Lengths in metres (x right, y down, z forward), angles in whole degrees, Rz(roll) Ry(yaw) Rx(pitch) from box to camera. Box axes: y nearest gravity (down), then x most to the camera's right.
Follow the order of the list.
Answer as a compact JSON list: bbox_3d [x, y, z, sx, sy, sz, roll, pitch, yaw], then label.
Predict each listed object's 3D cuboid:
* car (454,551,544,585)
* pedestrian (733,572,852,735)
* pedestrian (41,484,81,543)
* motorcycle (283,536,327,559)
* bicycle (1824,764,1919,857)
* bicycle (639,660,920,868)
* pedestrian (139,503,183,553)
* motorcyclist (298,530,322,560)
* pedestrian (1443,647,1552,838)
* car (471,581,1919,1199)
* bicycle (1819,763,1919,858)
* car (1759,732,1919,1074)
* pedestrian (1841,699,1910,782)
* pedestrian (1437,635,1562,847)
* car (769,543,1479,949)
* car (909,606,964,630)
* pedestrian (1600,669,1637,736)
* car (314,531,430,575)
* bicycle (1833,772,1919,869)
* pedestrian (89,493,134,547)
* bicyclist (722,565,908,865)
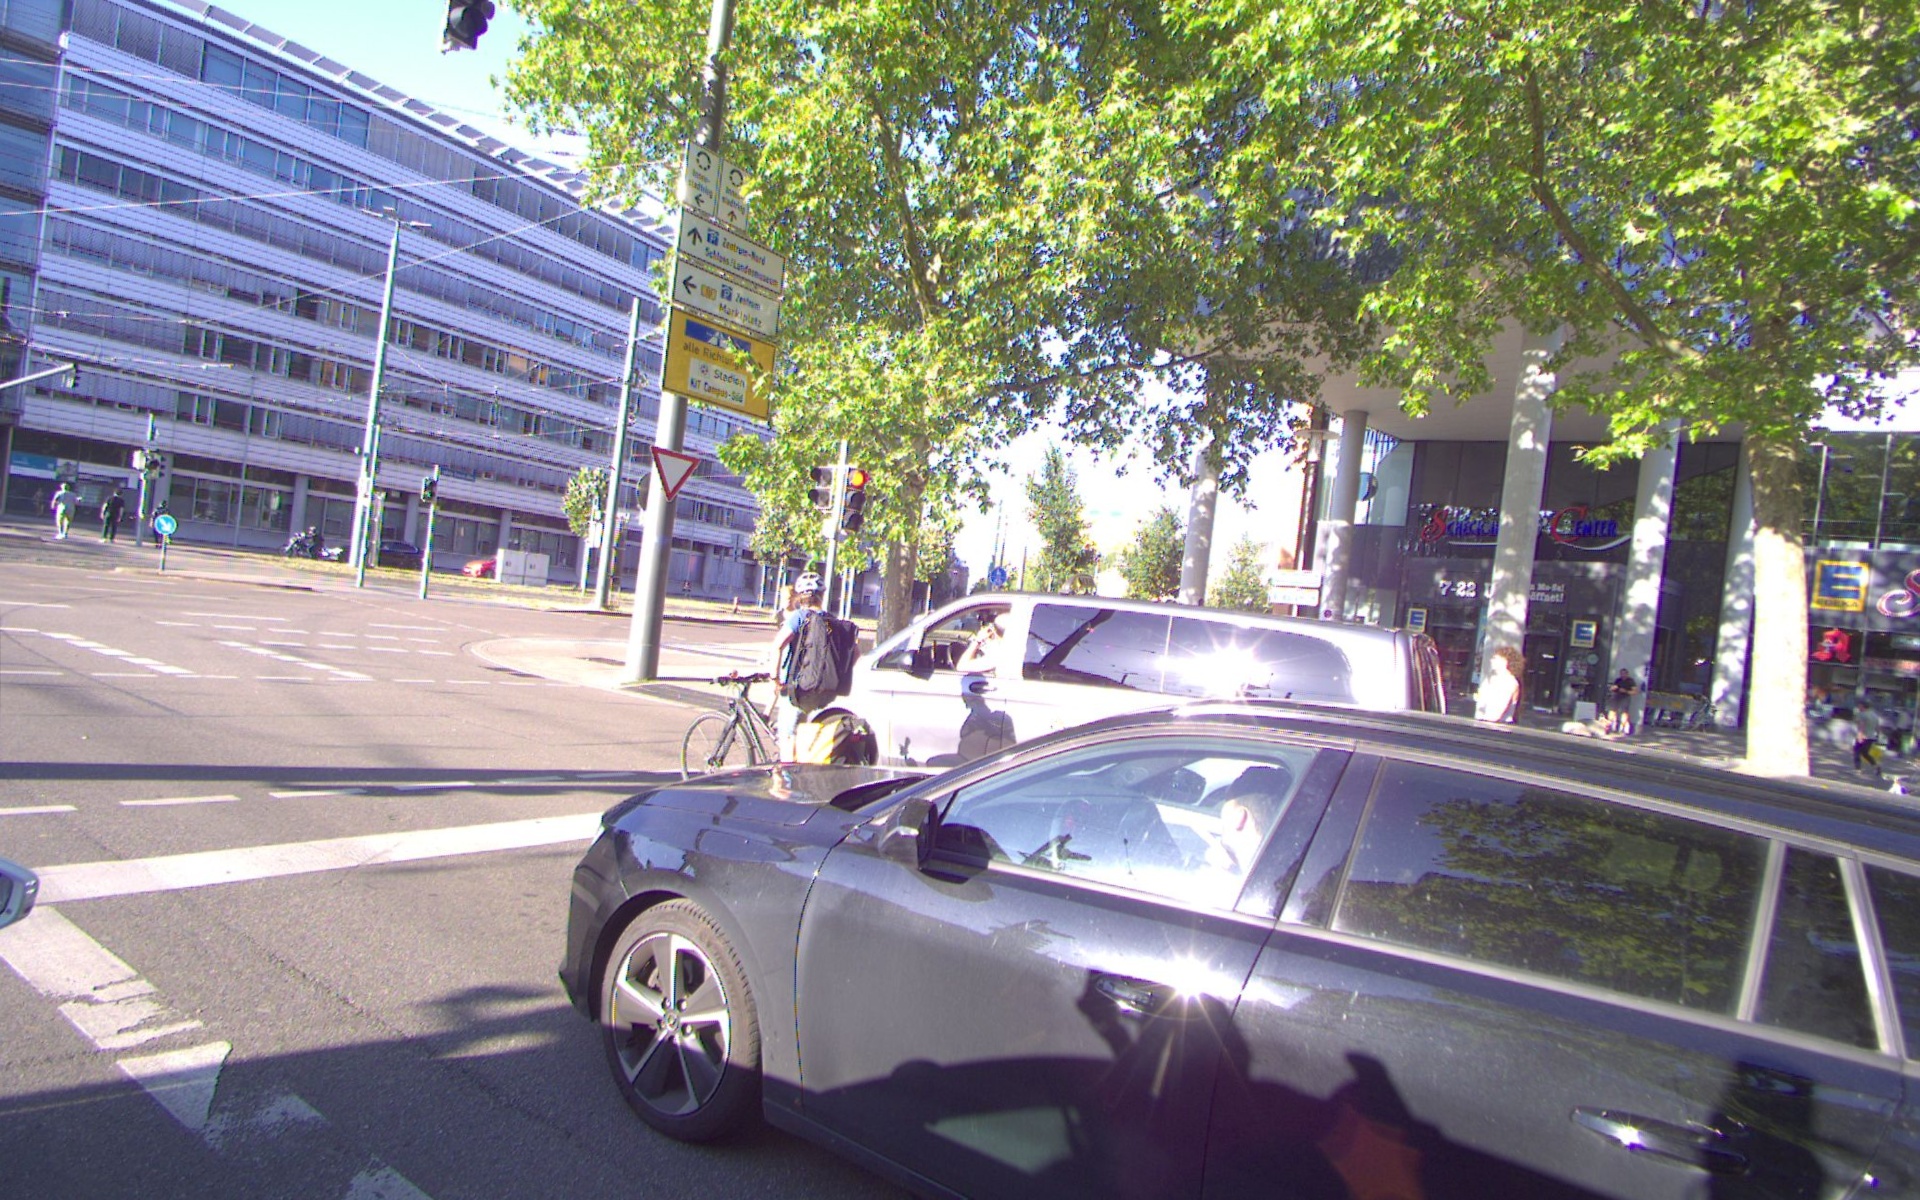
[{"bbox_3d":[-24.738,-1.705,54.107,1.758,1.411,3.984,7,1,37],"label":"car"},{"bbox_3d":[-1.976,0.639,11.968,0.729,1.769,1.092,7,0,23],"label":"pedestrian"},{"bbox_3d":[-30.251,-2.908,33.837,0.861,1.811,0.861,6,1,-43],"label":"pedestrian"},{"bbox_3d":[-30.152,-2.408,46.309,0.460,0.820,1.568,7,0,36],"label":"motorcycle"},{"bbox_3d":[11.500,2.606,12.357,0.460,0.938,1.210,6,0,-39],"label":"bicycle"},{"bbox_3d":[-1.227,1.015,6.645,1.839,0.993,0.561,7,1,32],"label":"bicycle"},{"bbox_3d":[-28.434,-2.562,35.813,0.883,1.583,0.947,7,1,39],"label":"pedestrian"},{"bbox_3d":[-30.029,-2.541,46.459,0.452,1.291,0.712,7,1,36],"label":"motorcyclist"},{"bbox_3d":[5.543,1.443,10.373,0.752,1.799,0.647,7,1,33],"label":"pedestrian"},{"bbox_3d":[0.805,0.945,2.732,4.199,1.431,1.742,7,-2,32],"label":"car"},{"bbox_3d":[11.203,2.543,12.085,0.437,0.930,1.210,6,0,-39],"label":"bicycle"},{"bbox_3d":[6.535,1.736,4.592,4.181,1.503,1.741,7,0,31],"label":"car"},{"bbox_3d":[20.889,3.191,22.966,0.704,1.728,0.806,7,1,16],"label":"pedestrian"},{"bbox_3d":[5.234,1.336,9.762,0.801,1.868,0.642,7,1,36],"label":"pedestrian"},{"bbox_3d":[1.122,0.842,7.948,5.012,2.004,1.939,7,0,31],"label":"car"},{"bbox_3d":[-1.834,1.442,79.892,1.758,1.353,4.605,7,0,37],"label":"car"},{"bbox_3d":[17.539,2.737,26.787,0.598,1.707,0.511,6,1,-41],"label":"pedestrian"},{"bbox_3d":[-26.910,-2.134,46.131,1.758,1.415,4.157,7,0,37],"label":"car"},{"bbox_3d":[10.544,2.477,11.098,1.233,0.898,0.462,7,1,32],"label":"bicycle"},{"bbox_3d":[-29.675,-2.803,35.190,1.020,1.706,0.912,7,1,39],"label":"pedestrian"},{"bbox_3d":[-0.915,0.693,6.386,0.766,1.714,0.632,7,1,32],"label":"bicyclist"}]
